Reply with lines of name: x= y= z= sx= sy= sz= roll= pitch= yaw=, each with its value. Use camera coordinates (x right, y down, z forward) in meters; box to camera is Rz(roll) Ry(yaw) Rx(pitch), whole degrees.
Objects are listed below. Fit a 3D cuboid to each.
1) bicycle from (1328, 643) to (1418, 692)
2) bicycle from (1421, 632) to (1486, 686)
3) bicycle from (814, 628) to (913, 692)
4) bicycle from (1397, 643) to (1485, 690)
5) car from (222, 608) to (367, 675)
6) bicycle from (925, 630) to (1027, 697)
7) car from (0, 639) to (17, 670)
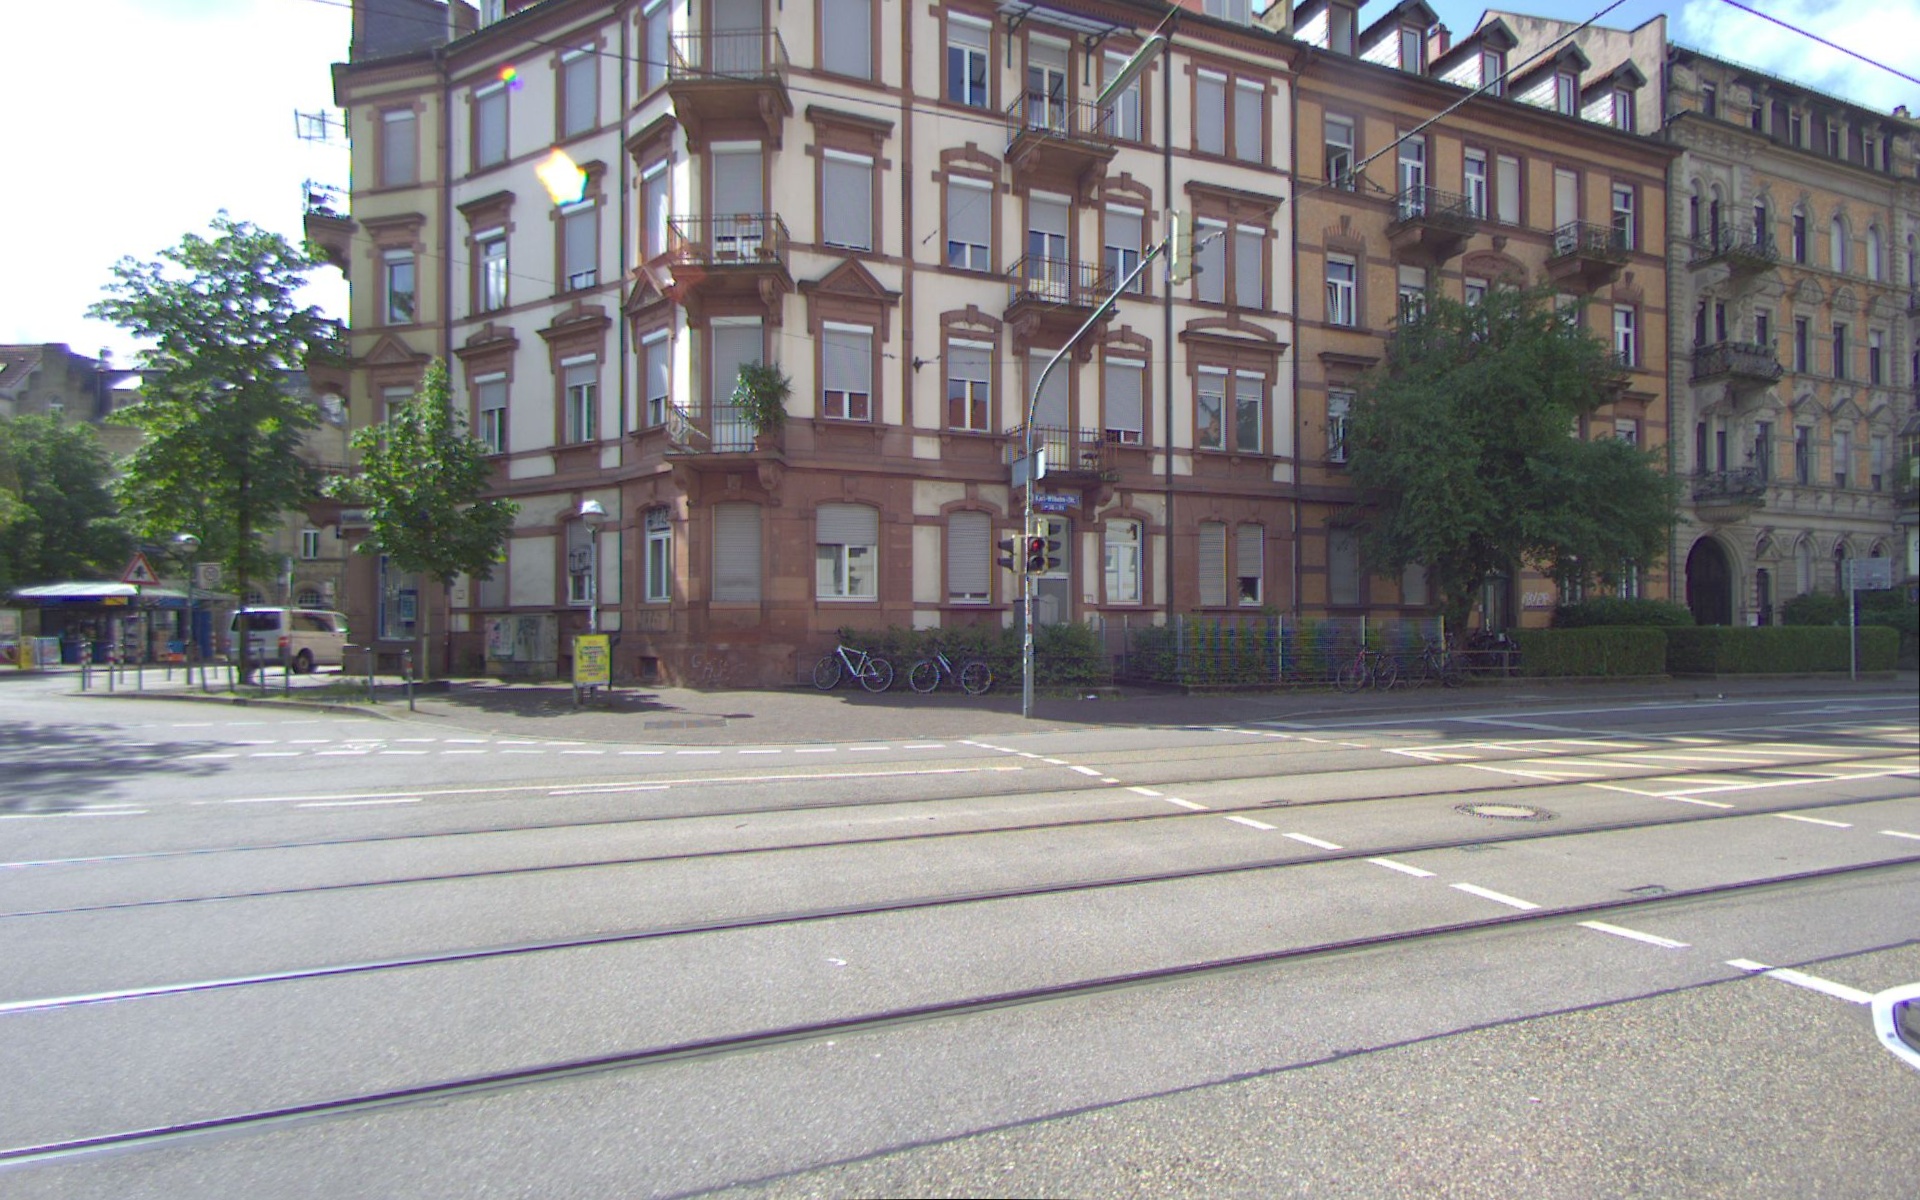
bicycle: x=8.419 y=1.360 z=20.474 sx=1.797 sy=0.944 sz=0.558 roll=1 pitch=-1 yaw=-19
bicycle: x=10.922 y=1.299 z=22.276 sx=0.490 sy=1.146 sz=1.302 roll=0 pitch=-1 yaw=-22
bicycle: x=-1.920 y=1.172 z=20.003 sx=1.915 sy=1.241 sz=0.483 roll=0 pitch=-1 yaw=17
bicycle: x=10.109 y=1.383 z=21.090 sx=1.797 sy=0.944 sz=0.558 roll=1 pitch=-1 yaw=-19
car: x=-20.608 y=1.261 z=31.350 sx=1.962 sy=1.933 sz=4.263 roll=0 pitch=-1 yaw=-5
bicycle: x=0.302 y=1.209 z=19.390 sx=1.915 sy=1.241 sz=0.483 roll=0 pitch=-1 yaw=17
car: x=-51.596 y=2.845 z=52.294 sx=3.340 sy=1.558 sz=1.666 roll=0 pitch=-1 yaw=-2
